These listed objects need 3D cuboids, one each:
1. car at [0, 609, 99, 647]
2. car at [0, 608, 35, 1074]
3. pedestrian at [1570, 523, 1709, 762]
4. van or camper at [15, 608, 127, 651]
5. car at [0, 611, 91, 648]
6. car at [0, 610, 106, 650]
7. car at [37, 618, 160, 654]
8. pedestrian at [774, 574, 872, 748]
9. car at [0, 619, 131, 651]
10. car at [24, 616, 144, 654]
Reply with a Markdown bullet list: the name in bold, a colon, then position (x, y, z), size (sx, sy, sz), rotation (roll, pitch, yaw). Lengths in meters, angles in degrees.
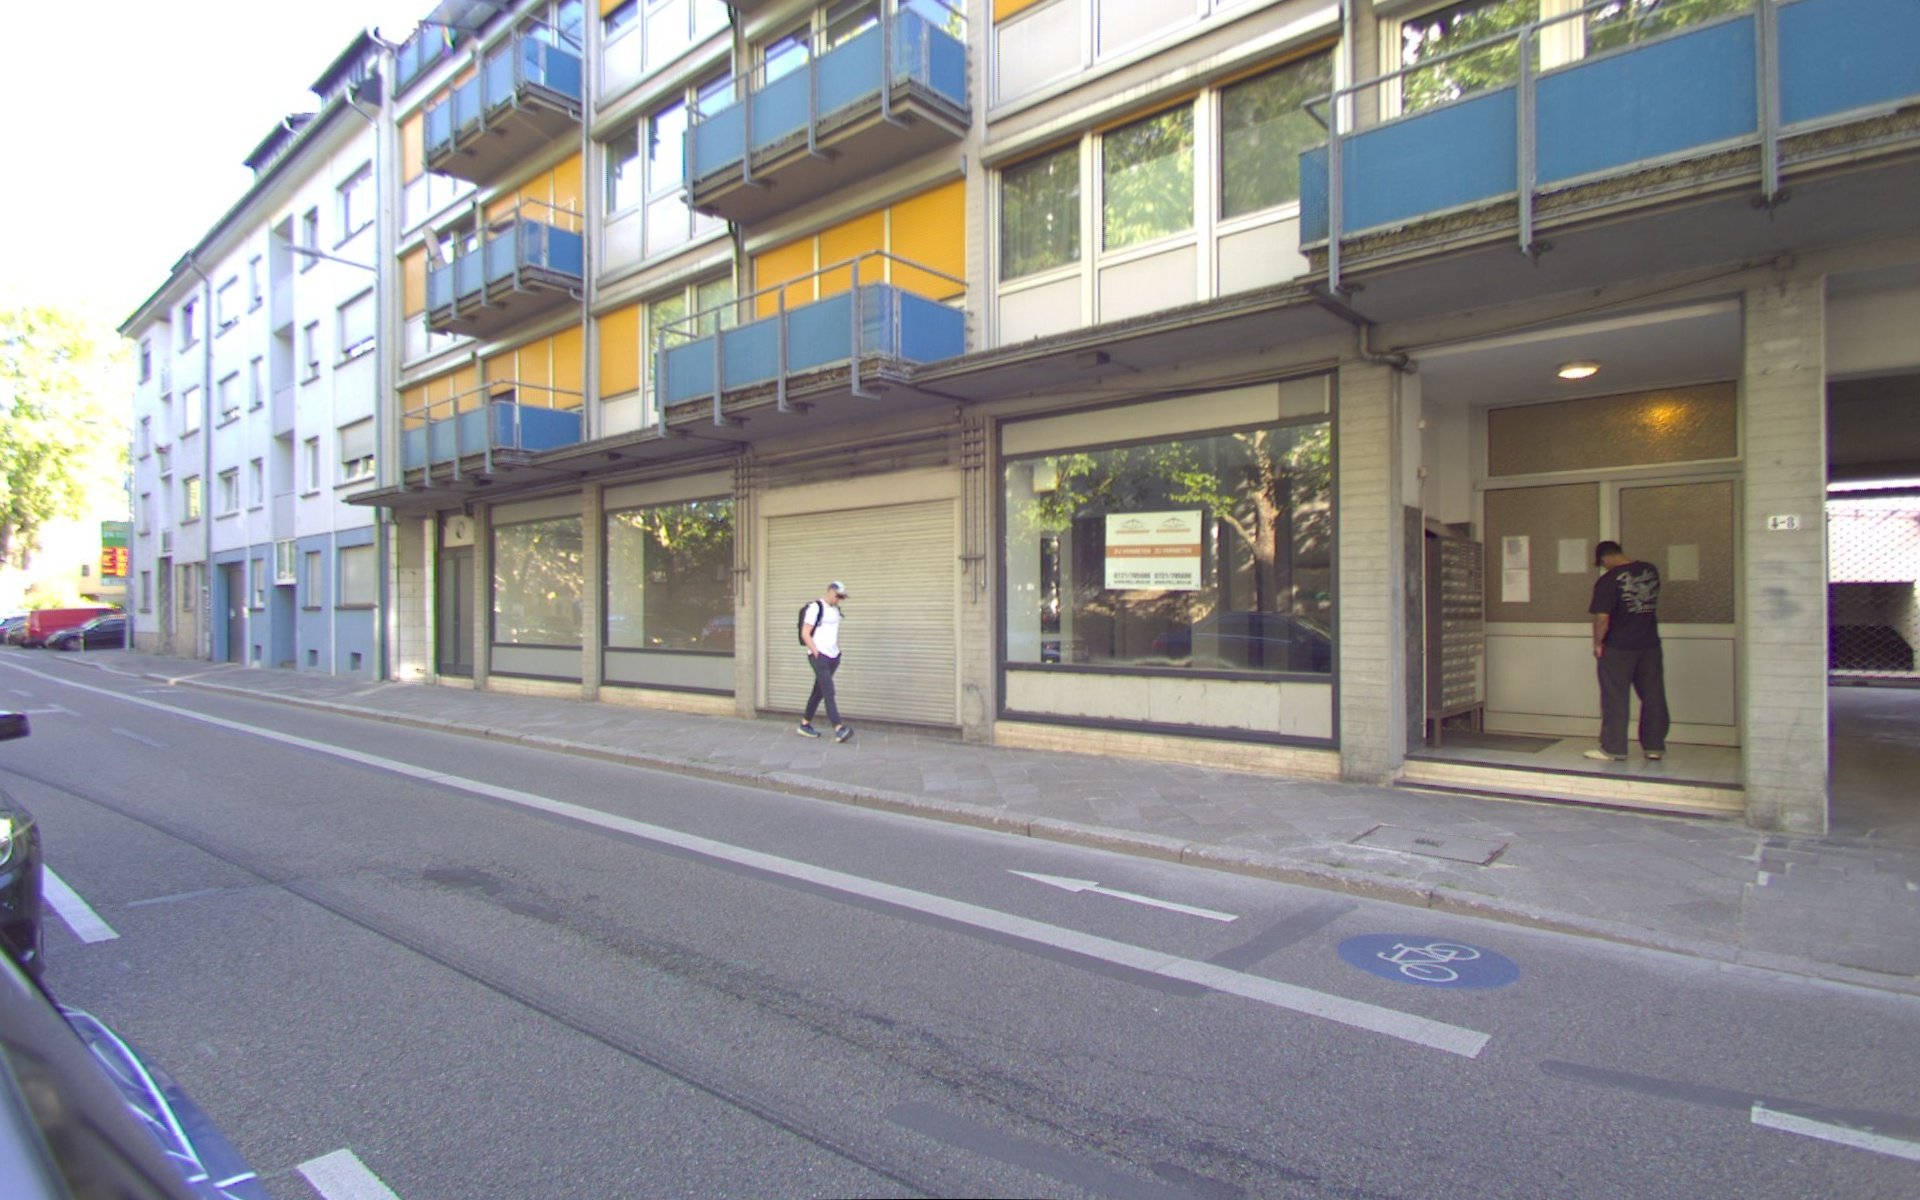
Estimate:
- **car**: position (-55.394, 1.669, 61.140), size (1.999, 2.210, 4.927), rotation (-1, -1, 41)
- **car**: position (-4.998, 0.794, 3.848), size (3.861, 1.467, 1.718), rotation (-1, -1, 40)
- **pedestrian**: position (5.129, 0.305, 7.662), size (0.650, 1.726, 0.550), rotation (0, -1, -16)
- **van or camper**: position (-43.881, 1.428, 49.998), size (1.999, 2.029, 3.946), rotation (-1, -1, 40)
- **car**: position (-57.387, 1.819, 62.849), size (1.999, 2.210, 4.927), rotation (-1, -1, 41)
- **car**: position (-53.306, 1.734, 59.189), size (1.999, 2.210, 4.927), rotation (-1, -1, 41)
- **car**: position (-39.744, 1.630, 46.771), size (1.999, 1.506, 4.093), rotation (-1, -1, 41)
- **pedestrian**: position (-1.512, 0.643, 11.127), size (0.879, 1.813, 0.593), rotation (-1, 0, 41)
- **car**: position (-45.713, 1.748, 51.690), size (1.999, 1.506, 4.927), rotation (-1, -1, 41)
- **car**: position (-41.625, 1.618, 48.156), size (1.999, 1.703, 4.093), rotation (-1, -1, 41)
